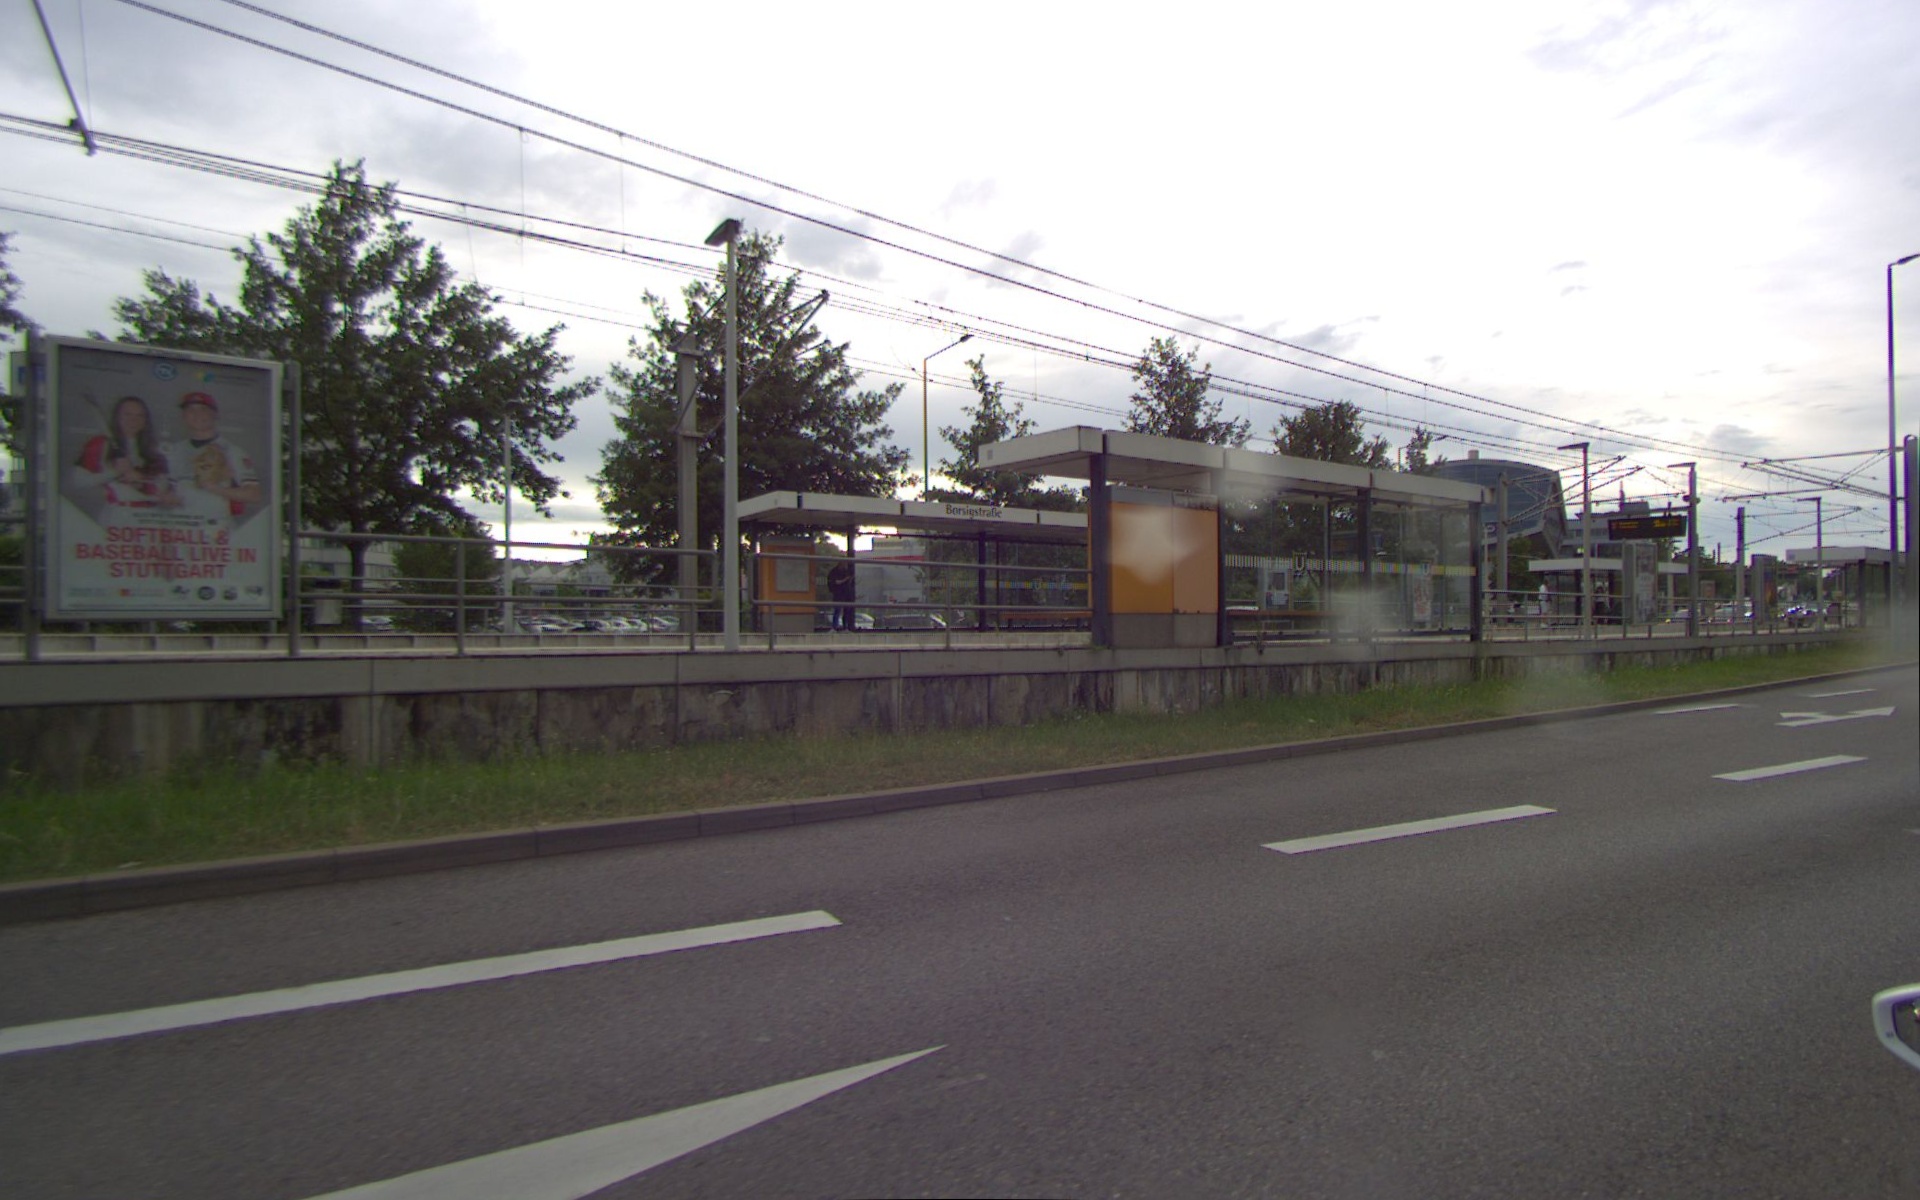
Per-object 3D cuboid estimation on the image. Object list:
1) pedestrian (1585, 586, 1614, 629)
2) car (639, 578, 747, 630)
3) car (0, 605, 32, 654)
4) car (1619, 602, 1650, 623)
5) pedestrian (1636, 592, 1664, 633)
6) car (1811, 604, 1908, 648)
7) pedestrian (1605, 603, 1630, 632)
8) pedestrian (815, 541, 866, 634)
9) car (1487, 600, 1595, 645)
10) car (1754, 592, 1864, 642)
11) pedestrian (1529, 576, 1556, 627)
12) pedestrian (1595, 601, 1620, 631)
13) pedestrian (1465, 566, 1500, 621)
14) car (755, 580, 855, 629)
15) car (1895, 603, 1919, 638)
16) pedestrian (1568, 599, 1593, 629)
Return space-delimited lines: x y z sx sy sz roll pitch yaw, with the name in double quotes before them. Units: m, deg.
"pedestrian" 26.942 0.316 42.294 0.823 1.738 0.724 3 -1 -34
"car" -11.093 0.156 41.737 3.957 2.041 1.982 0 1 -33
"car" -30.224 0.808 29.402 1.960 1.433 4.003 3 -2 14
"car" 72.296 1.342 107.706 1.962 2.040 3.999 3 -2 23
"pedestrian" 31.055 0.559 45.191 0.756 1.773 0.747 5 -2 -35
"car" 34.326 1.007 38.316 3.810 1.472 1.980 4 -1 -36
"pedestrian" 29.745 0.779 45.466 0.725 1.269 0.721 3 -1 -37
"pedestrian" -2.514 -0.262 21.108 0.744 1.878 0.633 5 -2 -36
"car" 18.790 0.707 32.475 3.301 1.354 1.846 0 1 -36
"car" 28.760 0.525 34.000 3.809 1.472 1.980 -2 2 -36
"pedestrian" 24.285 0.080 41.871 0.706 2.108 0.685 1 0 -30
"pedestrian" 28.943 0.707 44.887 0.725 1.269 0.721 3 -1 -37
"pedestrian" 20.391 -0.248 39.178 1.035 2.040 0.846 5 -2 -45
"car" -6.852 0.187 44.437 3.957 2.041 1.982 0 1 -33
"car" 48.935 1.095 50.512 3.810 1.698 1.980 2 3 -36
"pedestrian" 27.303 0.613 44.198 0.725 1.269 0.721 3 -1 -37
